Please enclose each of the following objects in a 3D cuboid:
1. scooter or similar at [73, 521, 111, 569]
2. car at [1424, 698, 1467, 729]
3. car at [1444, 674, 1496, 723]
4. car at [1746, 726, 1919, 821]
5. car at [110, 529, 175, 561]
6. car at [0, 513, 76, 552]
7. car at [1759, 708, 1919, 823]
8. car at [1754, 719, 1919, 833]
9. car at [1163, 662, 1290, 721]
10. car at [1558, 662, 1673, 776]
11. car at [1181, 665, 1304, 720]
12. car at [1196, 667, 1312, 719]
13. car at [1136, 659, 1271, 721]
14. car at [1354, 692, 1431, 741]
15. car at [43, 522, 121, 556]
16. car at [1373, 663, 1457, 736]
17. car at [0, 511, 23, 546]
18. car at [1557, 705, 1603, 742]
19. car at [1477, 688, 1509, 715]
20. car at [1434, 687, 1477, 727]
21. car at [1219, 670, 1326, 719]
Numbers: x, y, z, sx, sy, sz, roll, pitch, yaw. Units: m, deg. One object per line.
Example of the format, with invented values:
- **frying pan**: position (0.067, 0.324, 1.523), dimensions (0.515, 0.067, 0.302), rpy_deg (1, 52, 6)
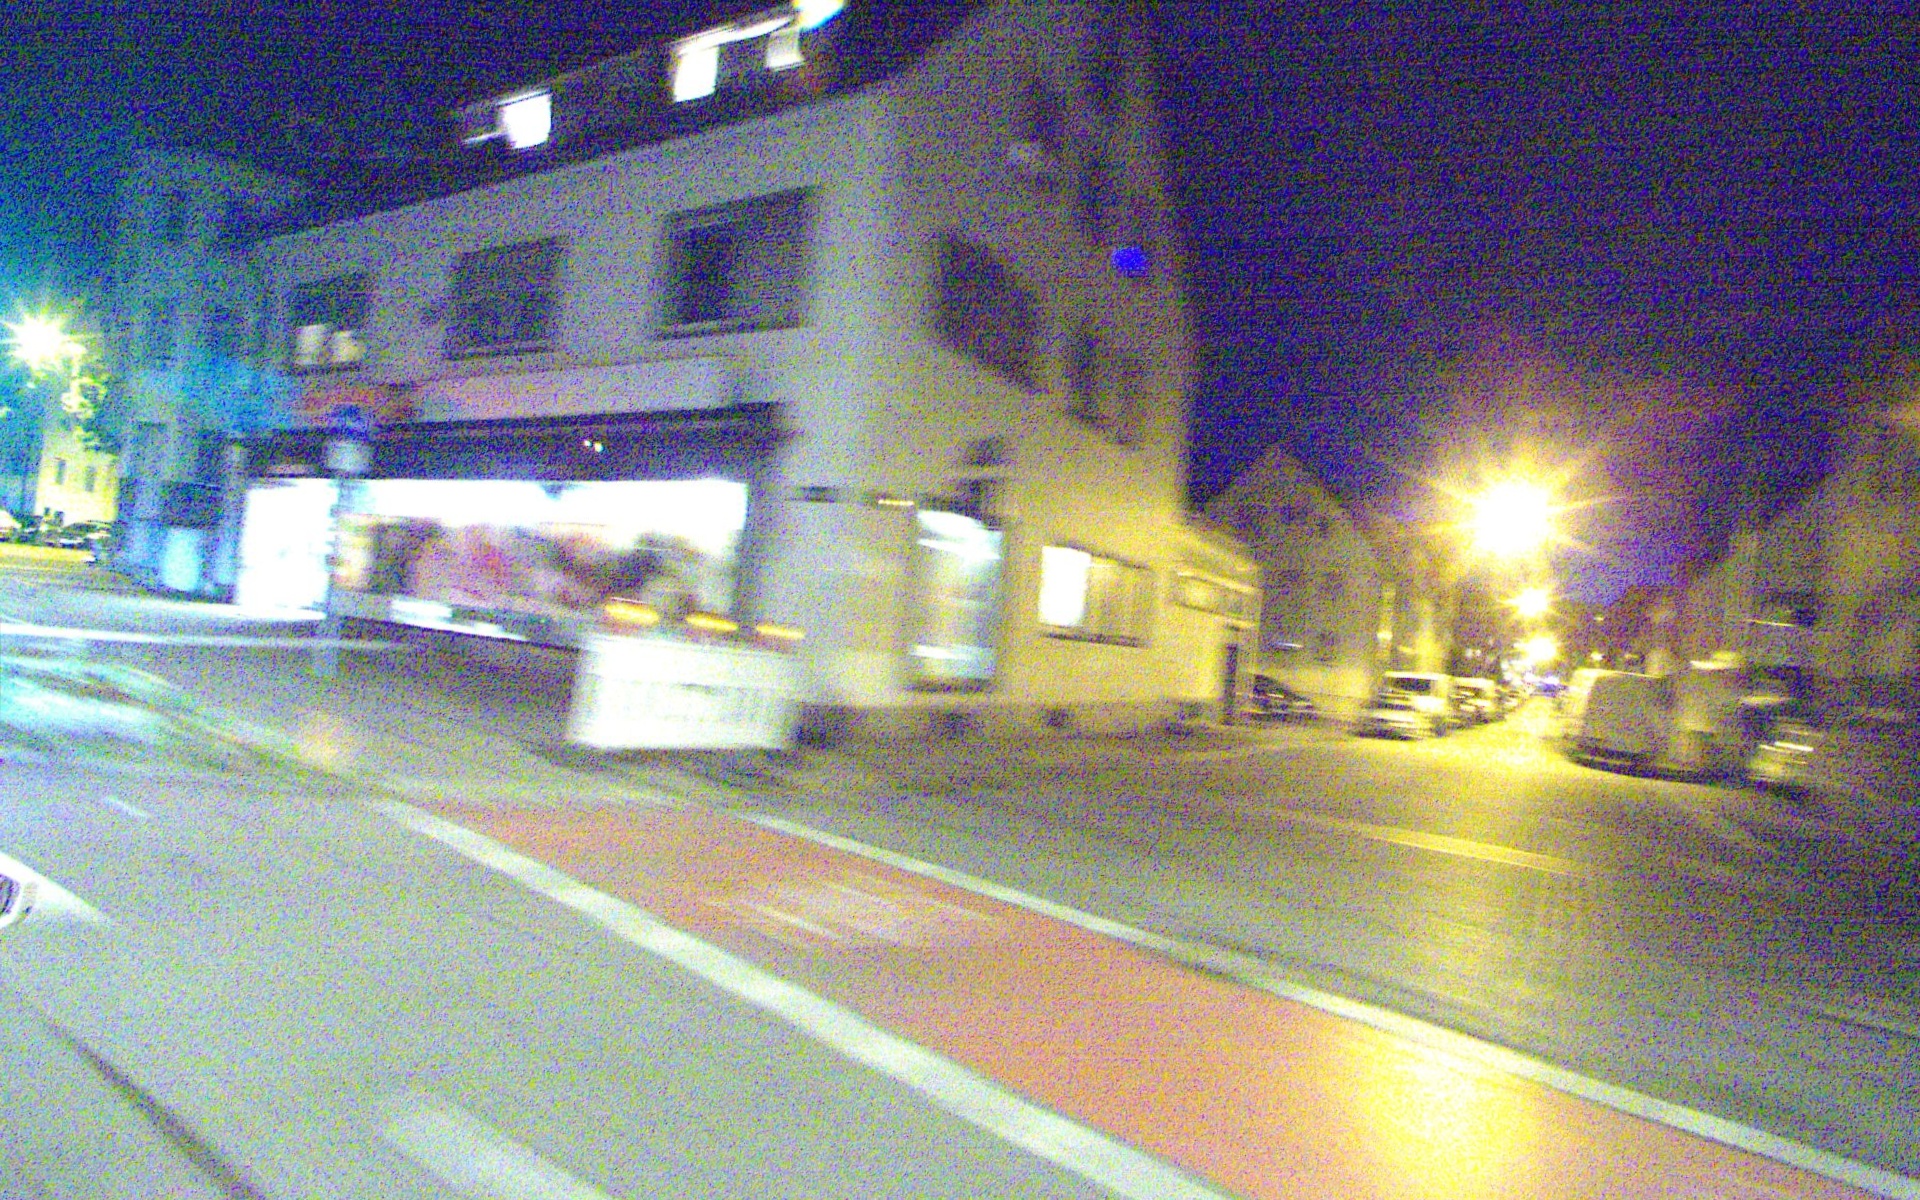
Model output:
- **scooter or similar**: position (-22.497, -1.420, 26.094), dimensions (0.495, 1.160, 1.651), rpy_deg (4, 0, -35)
- **car**: position (22.507, 5.260, 46.579), dimensions (1.520, 1.271, 3.246), rpy_deg (3, -4, 30)
- **car**: position (30.167, 5.878, 59.407), dimensions (2.243, 2.544, 6.683), rpy_deg (3, -4, 30)
- **car**: position (20.091, 3.901, 22.588), dimensions (3.437, 1.576, 1.757), rpy_deg (6, -2, 28)
- **car**: position (-48.484, -3.229, 59.741), dimensions (1.751, 1.433, 3.902), rpy_deg (8, -2, -22)
- **car**: position (-44.113, -3.191, 47.852), dimensions (1.778, 1.433, 3.820), rpy_deg (8, -2, -22)
- **car**: position (18.962, 3.446, 20.740), dimensions (3.437, 1.943, 1.842), rpy_deg (6, -2, 29)
- **car**: position (17.528, 3.375, 18.786), dimensions (3.850, 1.702, 1.835), rpy_deg (6, -2, 30)
- **car**: position (9.305, 3.184, 35.218), dimensions (3.895, 1.470, 1.569), rpy_deg (6, -2, 35)
- **car**: position (18.765, 3.407, 29.093), dimensions (2.280, 2.623, 6.333), rpy_deg (7, -2, 31)
- **car**: position (10.478, 3.429, 37.370), dimensions (3.895, 1.470, 1.872), rpy_deg (6, -2, 35)
- **car**: position (11.622, 3.678, 39.841), dimensions (3.895, 1.470, 1.822), rpy_deg (6, -2, 36)
- **car**: position (7.989, 2.937, 33.167), dimensions (3.895, 1.470, 1.593), rpy_deg (6, -2, 35)
- **car**: position (13.511, 3.613, 31.293), dimensions (1.673, 1.271, 3.996), rpy_deg (3, -4, 30)
- **car**: position (-45.995, -3.173, 52.818), dimensions (1.751, 1.356, 3.902), rpy_deg (8, -2, -22)
- **car**: position (16.608, 3.649, 36.562), dimensions (2.093, 2.297, 5.474), rpy_deg (3, -4, 31)
- **car**: position (-41.787, -3.191, 42.540), dimensions (1.778, 1.433, 3.820), rpy_deg (8, -2, -22)
- **car**: position (31.162, 6.209, 50.625), dimensions (1.698, 1.557, 4.221), rpy_deg (6, -2, 30)
- **car**: position (43.071, 8.220, 81.265), dimensions (1.986, 1.990, 4.949), rpy_deg (3, -4, 30)
- **car**: position (24.554, 5.310, 49.801), dimensions (1.605, 1.768, 3.934), rpy_deg (3, -4, 30)
- **car**: position (12.960, 3.916, 41.805), dimensions (3.797, 1.470, 1.672), rpy_deg (6, -2, 36)
